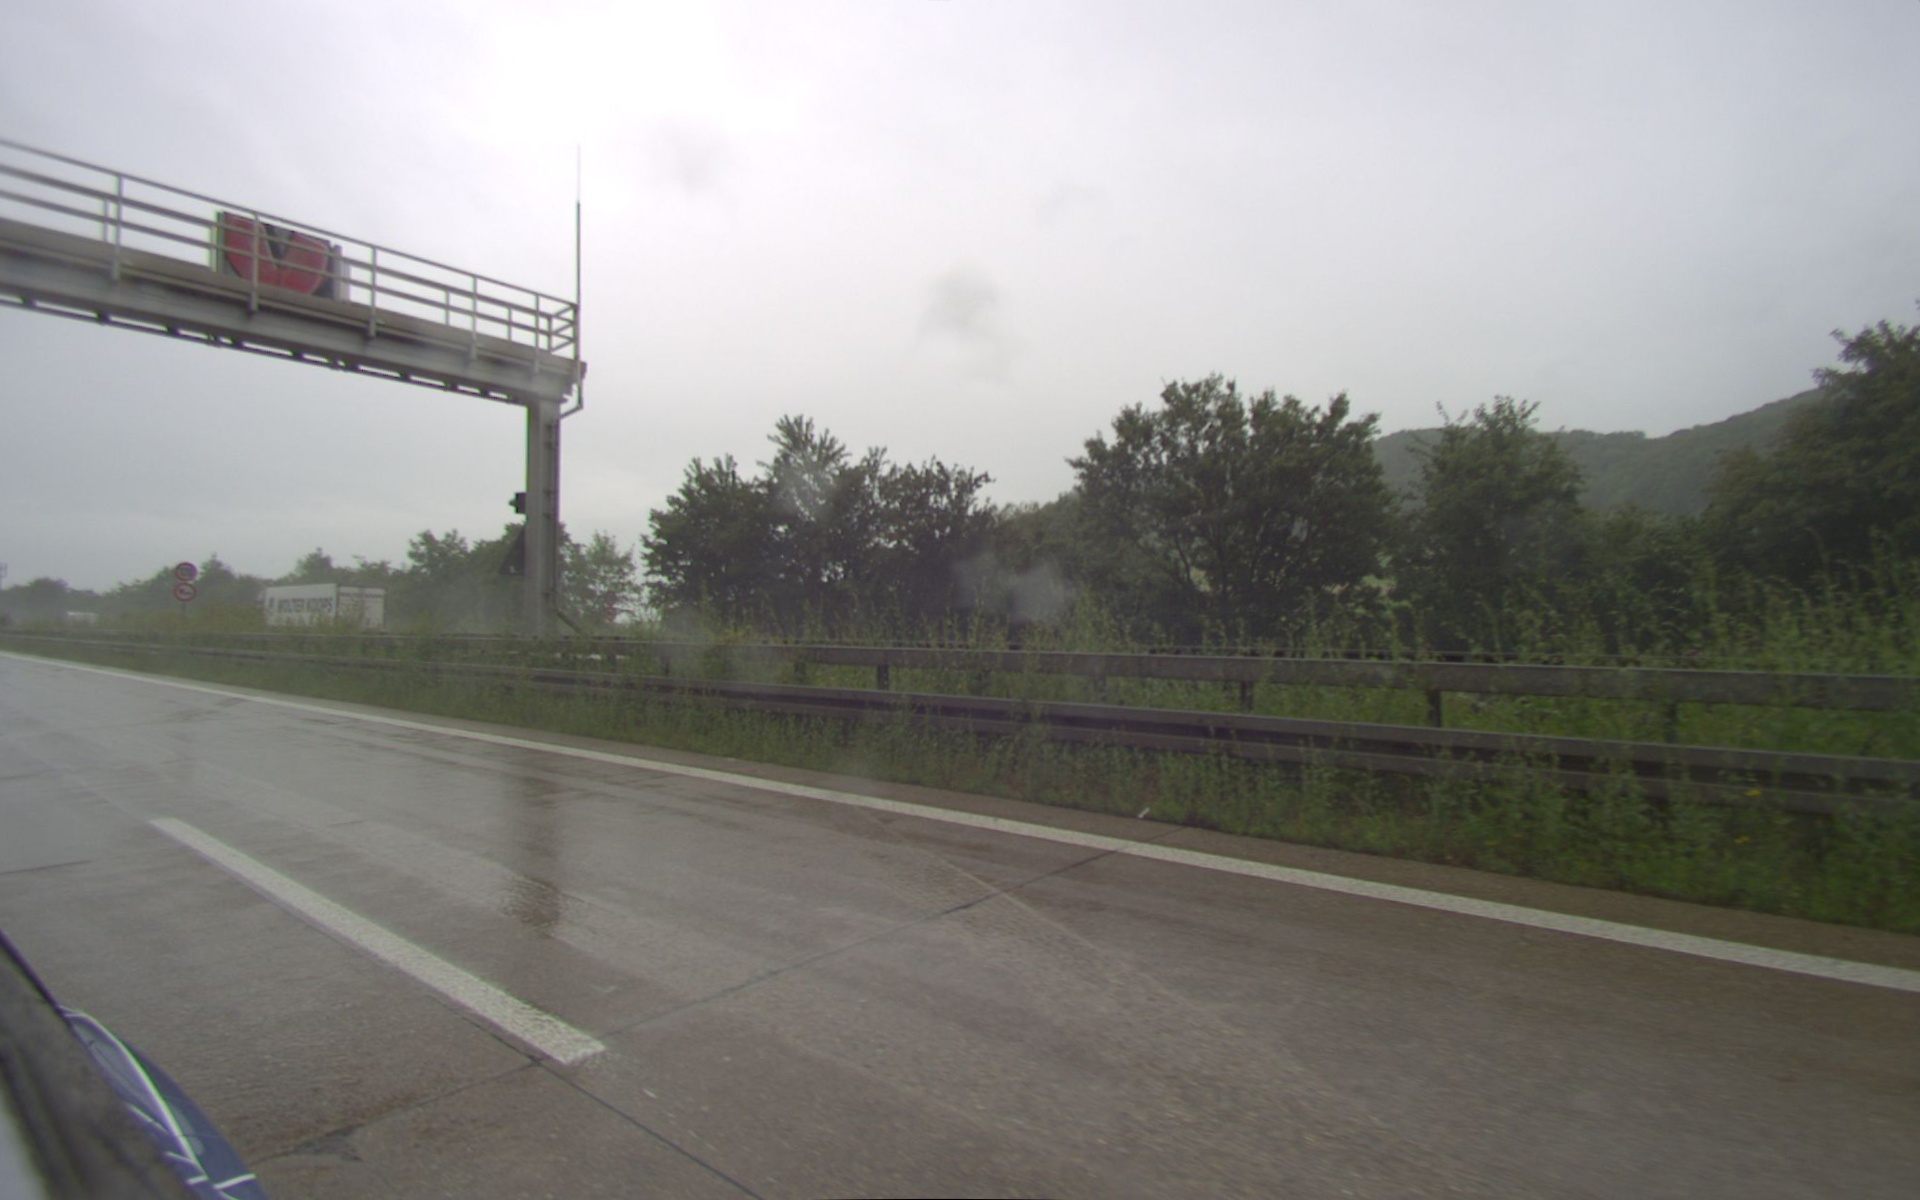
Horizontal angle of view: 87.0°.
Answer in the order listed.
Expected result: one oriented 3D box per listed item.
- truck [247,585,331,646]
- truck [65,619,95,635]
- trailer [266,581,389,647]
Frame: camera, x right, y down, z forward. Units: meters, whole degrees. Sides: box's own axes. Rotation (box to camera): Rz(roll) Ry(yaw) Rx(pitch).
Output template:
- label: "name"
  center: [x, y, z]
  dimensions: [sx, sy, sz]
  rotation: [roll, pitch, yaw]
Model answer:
- label: "truck"
  center: [-43.972, 1.032, 66.256]
  dimensions: [6.949, 3.791, 2.890]
  rotation: [-2, -2, 42]
- label: "truck"
  center: [-104.181, 3.195, 119.801]
  dimensions: [4.738, 1.911, 1.991]
  rotation: [-2, -2, 41]
- label: "trailer"
  center: [-38.559, 0.896, 61.431]
  dimensions: [12.280, 3.702, 2.934]
  rotation: [-1, -1, 41]
